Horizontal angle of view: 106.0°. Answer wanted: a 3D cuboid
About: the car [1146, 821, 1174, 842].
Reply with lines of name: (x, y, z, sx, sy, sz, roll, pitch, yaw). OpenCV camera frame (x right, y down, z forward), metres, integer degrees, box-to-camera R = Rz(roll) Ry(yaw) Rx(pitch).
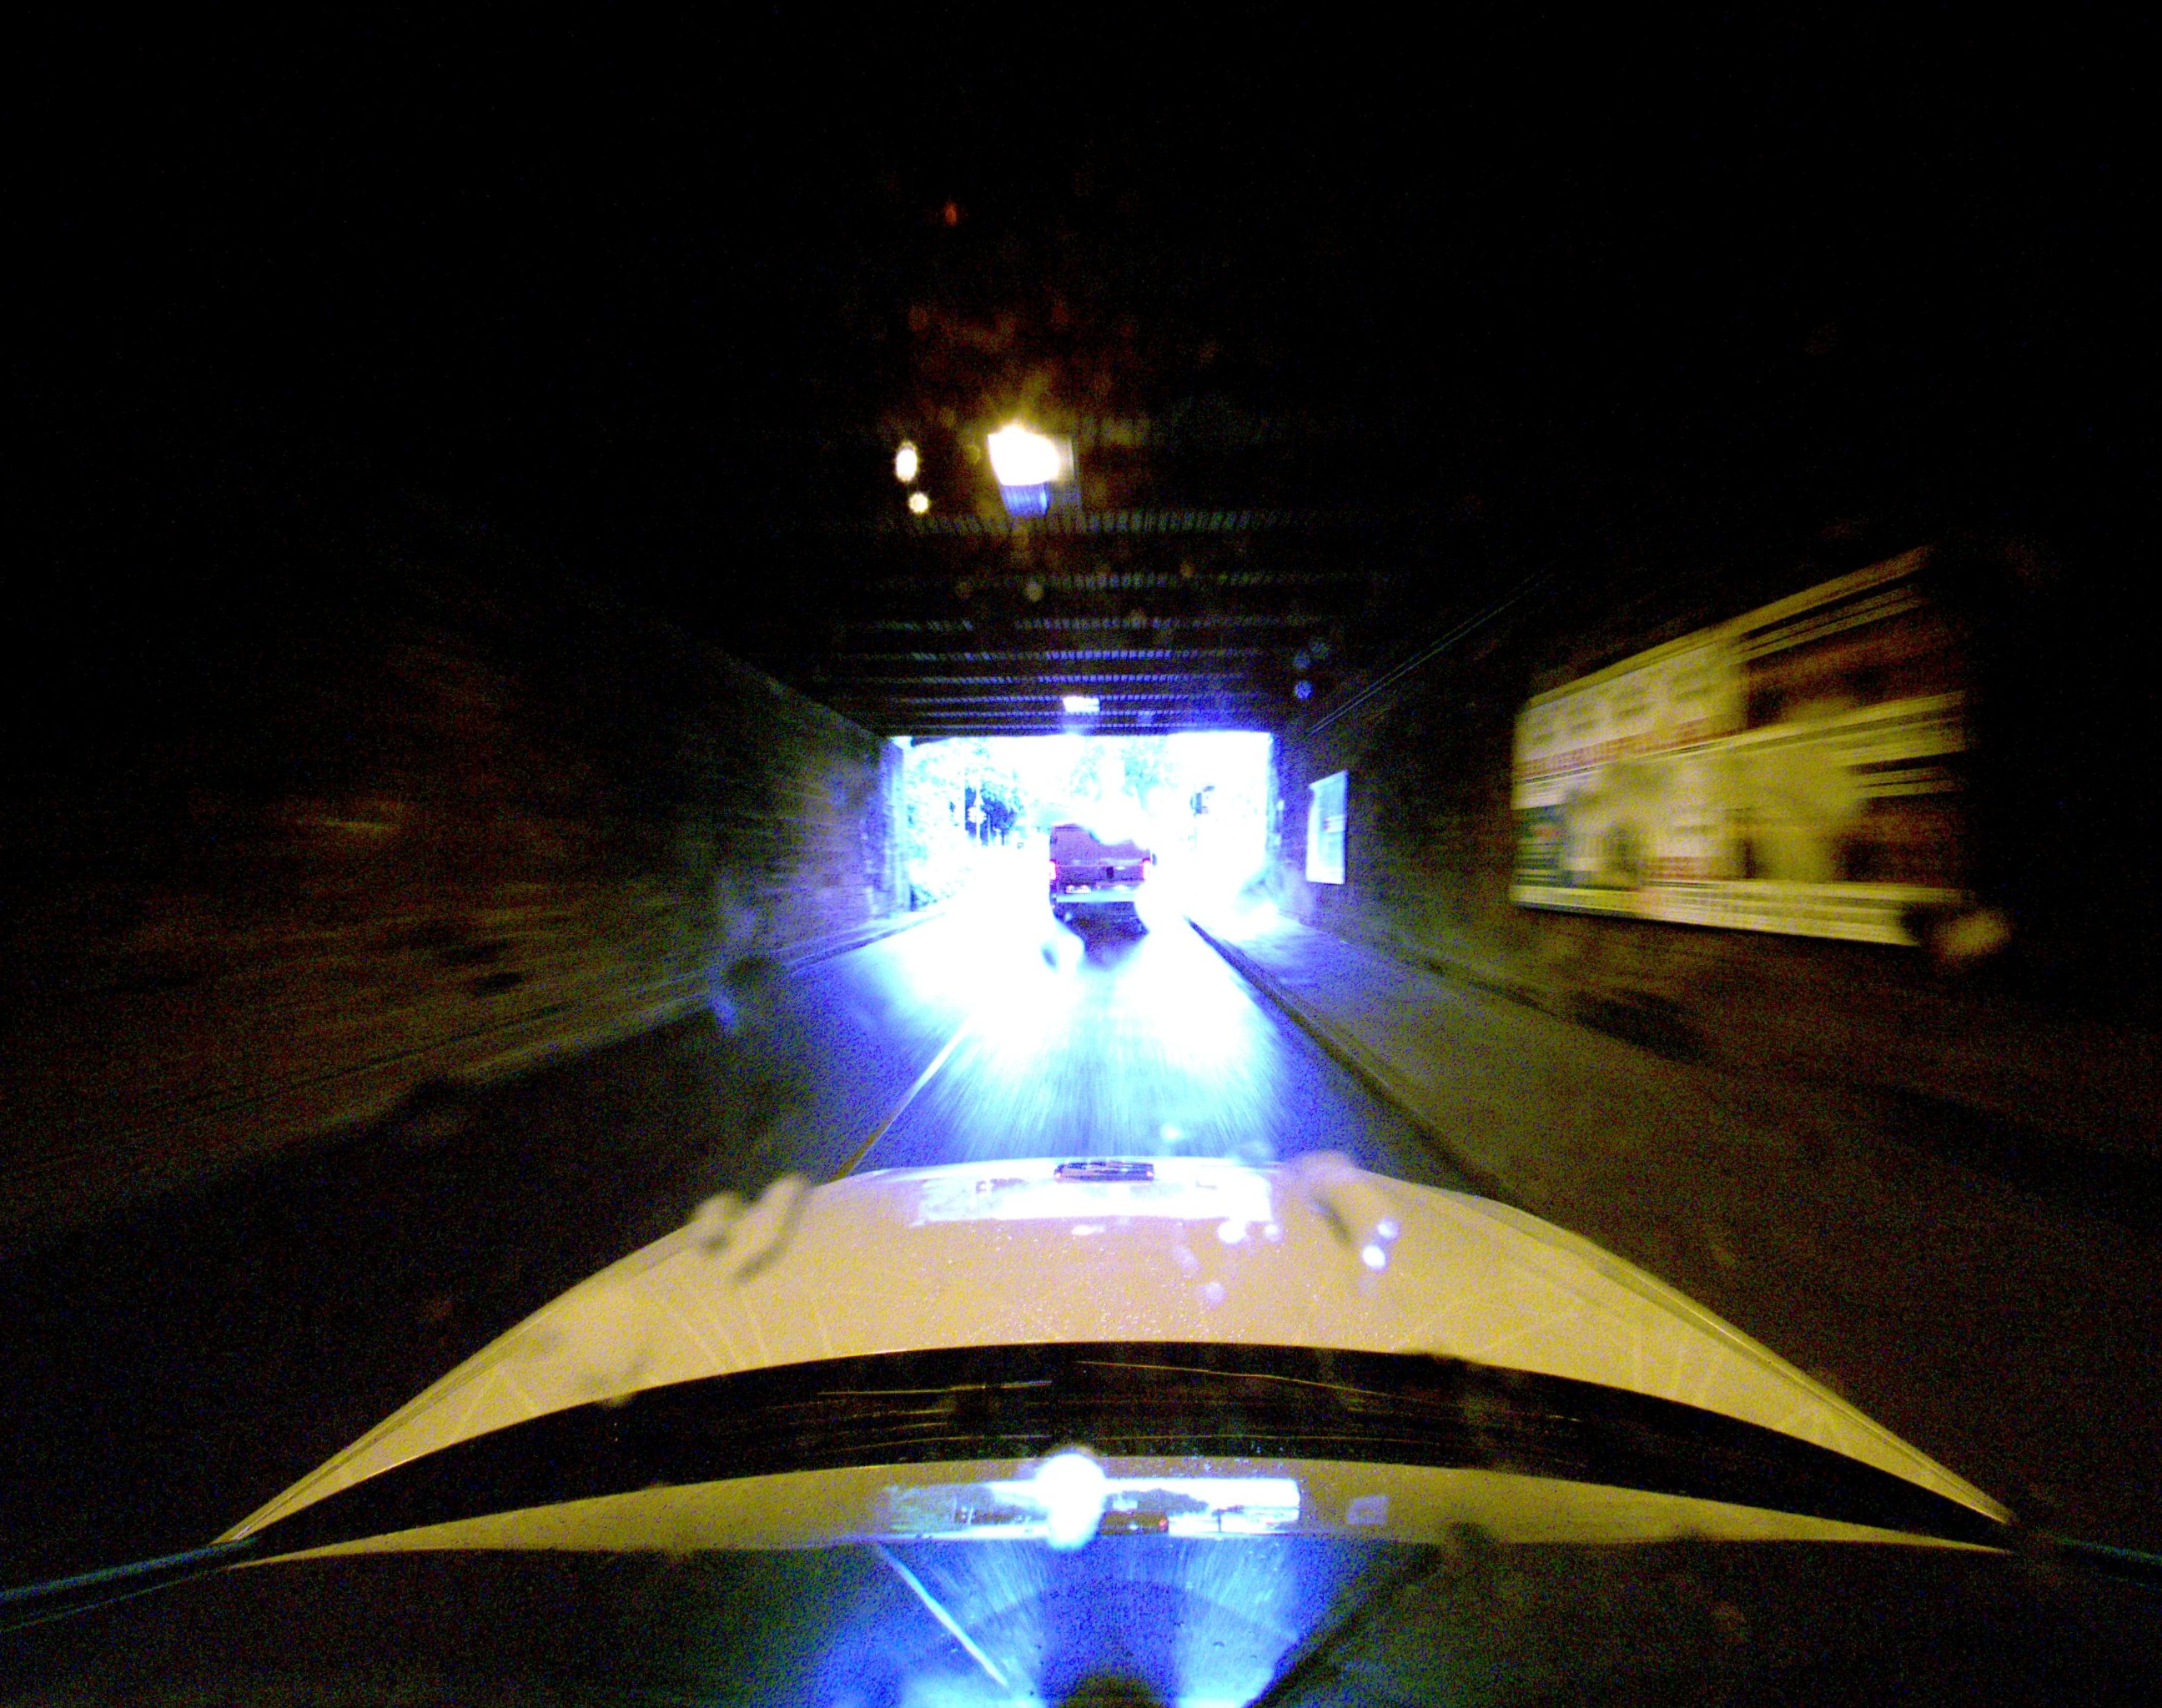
car: (7.485, -2.139, 77.580, 1.990, 1.947, 3.994, 0, 0, -5)

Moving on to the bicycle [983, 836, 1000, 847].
bicycle: (-9.840, -1.344, 89.579, 0.919, 1.128, 2.303, 0, 0, 23)

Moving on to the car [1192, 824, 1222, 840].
car: (12.034, -2.089, 78.076, 1.990, 1.486, 3.994, 0, 0, -5)

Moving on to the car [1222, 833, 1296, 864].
car: (8.935, -0.264, 40.686, 1.818, 1.438, 4.128, -2, -1, 41)

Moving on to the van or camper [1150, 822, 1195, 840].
van or camper: (10.870, -2.742, 96.617, 5.279, 2.013, 2.082, 0, 0, 7)

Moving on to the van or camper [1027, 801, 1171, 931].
van or camper: (0.481, 0.247, 17.787, 2.687, 2.416, 4.907, -1, 0, 3)

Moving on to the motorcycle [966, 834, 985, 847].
motorcycle: (-11.647, -1.439, 89.693, 1.982, 1.422, 0.658, 0, 0, -2)

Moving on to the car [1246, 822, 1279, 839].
car: (17.103, -2.219, 77.073, 1.990, 1.539, 3.994, 0, 0, -5)

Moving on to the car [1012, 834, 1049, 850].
car: (-5.510, -1.270, 89.619, 1.974, 1.688, 4.026, 0, 0, 34)

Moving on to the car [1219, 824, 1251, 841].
car: (14.579, -2.039, 77.272, 1.990, 1.539, 3.994, 0, 0, -5)
